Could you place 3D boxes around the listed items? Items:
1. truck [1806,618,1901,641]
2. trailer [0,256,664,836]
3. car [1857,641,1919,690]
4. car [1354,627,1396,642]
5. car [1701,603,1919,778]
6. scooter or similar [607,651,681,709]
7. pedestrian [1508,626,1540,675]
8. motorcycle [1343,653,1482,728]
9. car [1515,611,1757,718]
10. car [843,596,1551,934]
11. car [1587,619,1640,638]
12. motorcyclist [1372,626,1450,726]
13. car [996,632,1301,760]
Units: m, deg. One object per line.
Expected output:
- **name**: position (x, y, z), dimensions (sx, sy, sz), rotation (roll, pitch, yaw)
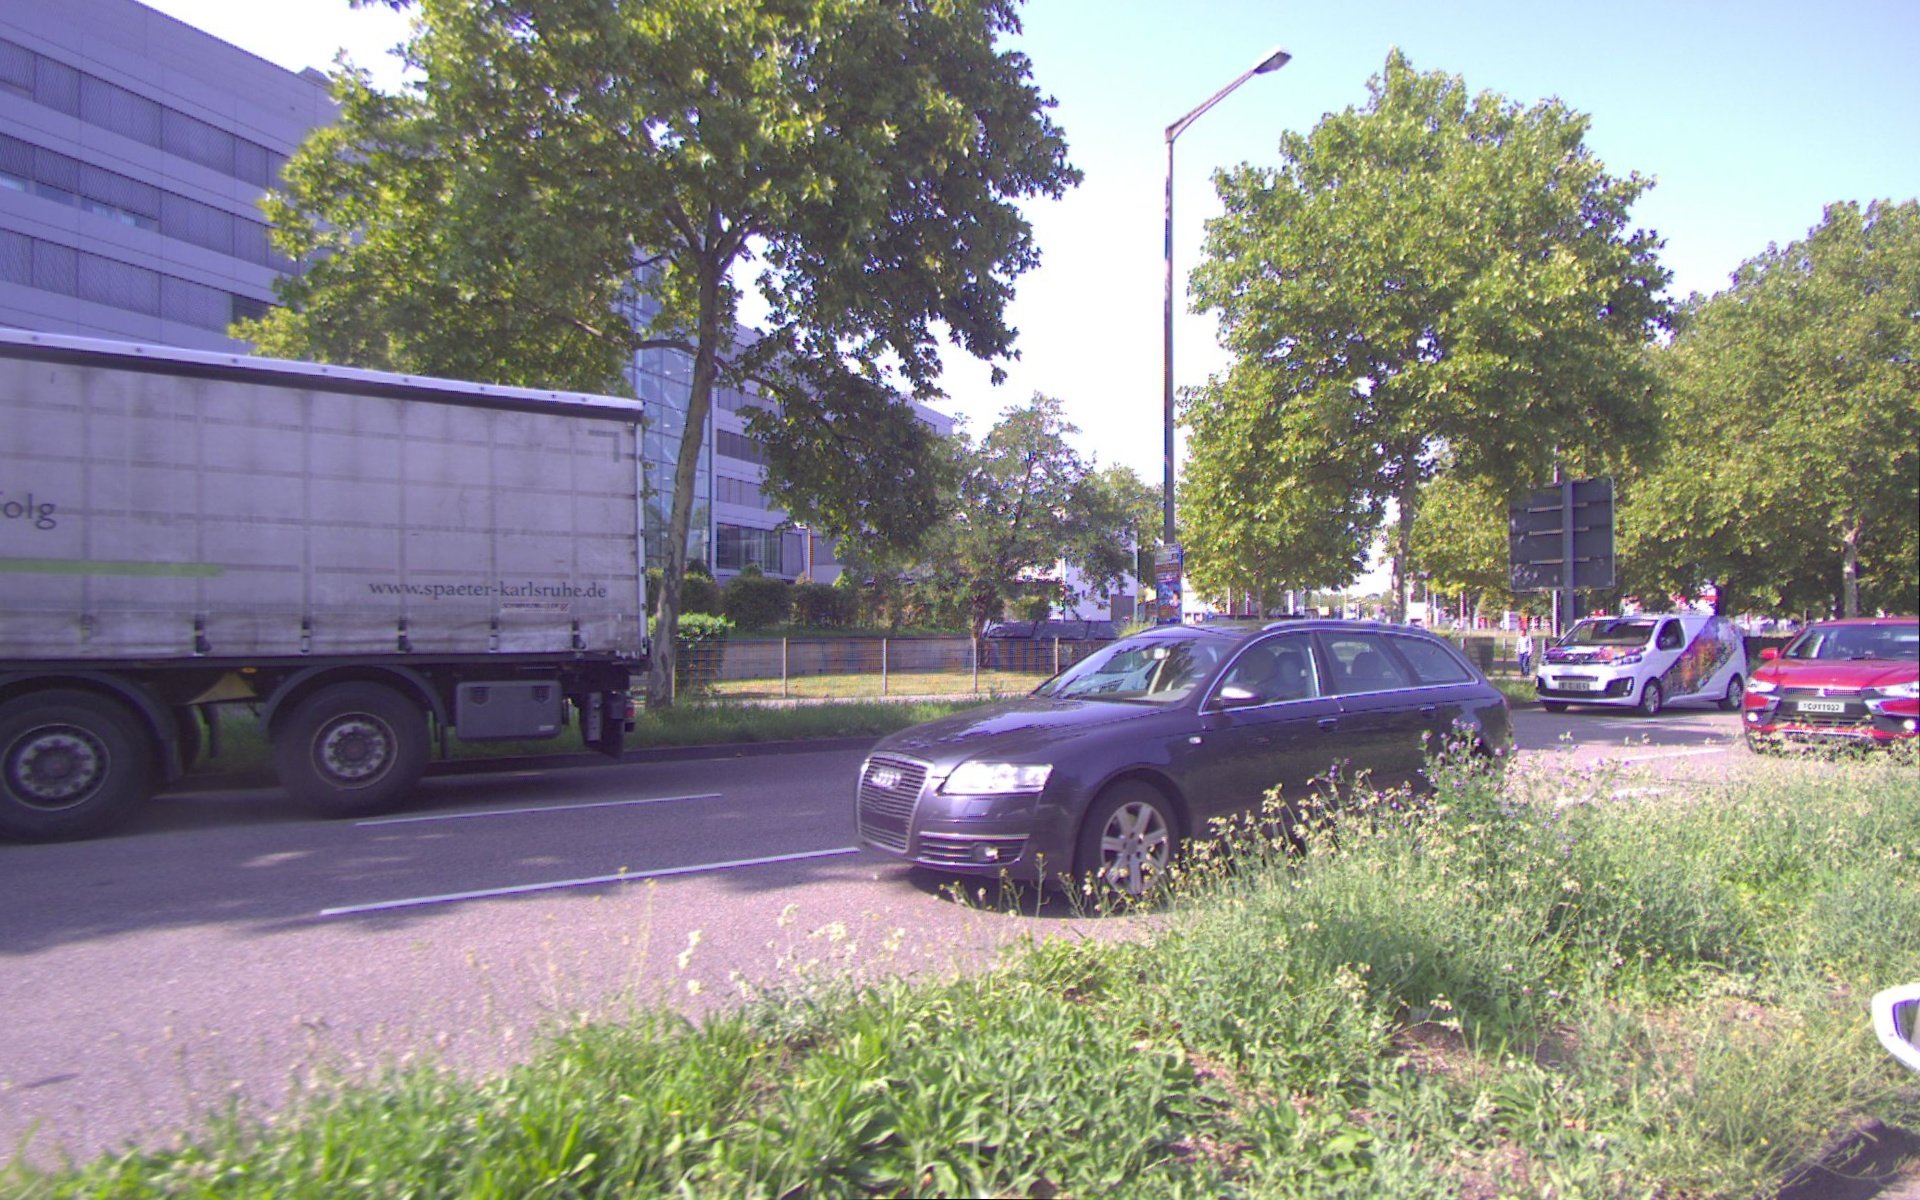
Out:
- **truck**: position (119.736, 4.004, 134.784), dimensions (8.843, 2.996, 3.512), rotation (-1, -2, 24)
- **trailer**: position (-9.149, -0.357, 6.586), dimensions (13.651, 3.871, 2.621), rotation (1, -3, -31)
- **car**: position (26.745, 1.774, 27.643), dimensions (4.044, 1.279, 1.784), rotation (1, -3, -29)
- **car**: position (43.713, 3.599, 105.787), dimensions (3.925, 1.565, 1.839), rotation (-1, -2, 25)
- **car**: position (11.111, 0.970, 12.055), dimensions (4.533, 1.747, 1.945), rotation (1, -2, -30)
- **scooter or similar**: position (-6.446, 1.618, 20.525), dimensions (1.364, 1.142, 0.507), rotation (1, -1, -29)
- **pedestrian**: position (19.831, 1.773, 35.328), dimensions (0.923, 1.674, 0.614), rotation (1, -1, -30)
- **motorcycle**: position (7.443, 1.449, 16.476), dimensions (2.438, 1.122, 0.791), rotation (1, -1, -30)
- **car**: position (13.323, 1.227, 19.737), dimensions (4.911, 1.883, 1.976), rotation (1, -3, -30)
- **car**: position (1.673, 0.823, 6.438), dimensions (4.536, 1.498, 1.737), rotation (1, -4, -32)
- **car**: position (62.590, 2.718, 96.258), dimensions (3.922, 1.701, 1.870), rotation (0, -1, 21)
- **motorcyclist**: position (7.386, 1.213, 16.446), dimensions (0.911, 1.574, 0.774), rotation (1, -1, -29)
- **car**: position (2.543, 1.188, 13.431), dimensions (3.784, 1.498, 1.739), rotation (1, -3, -29)
